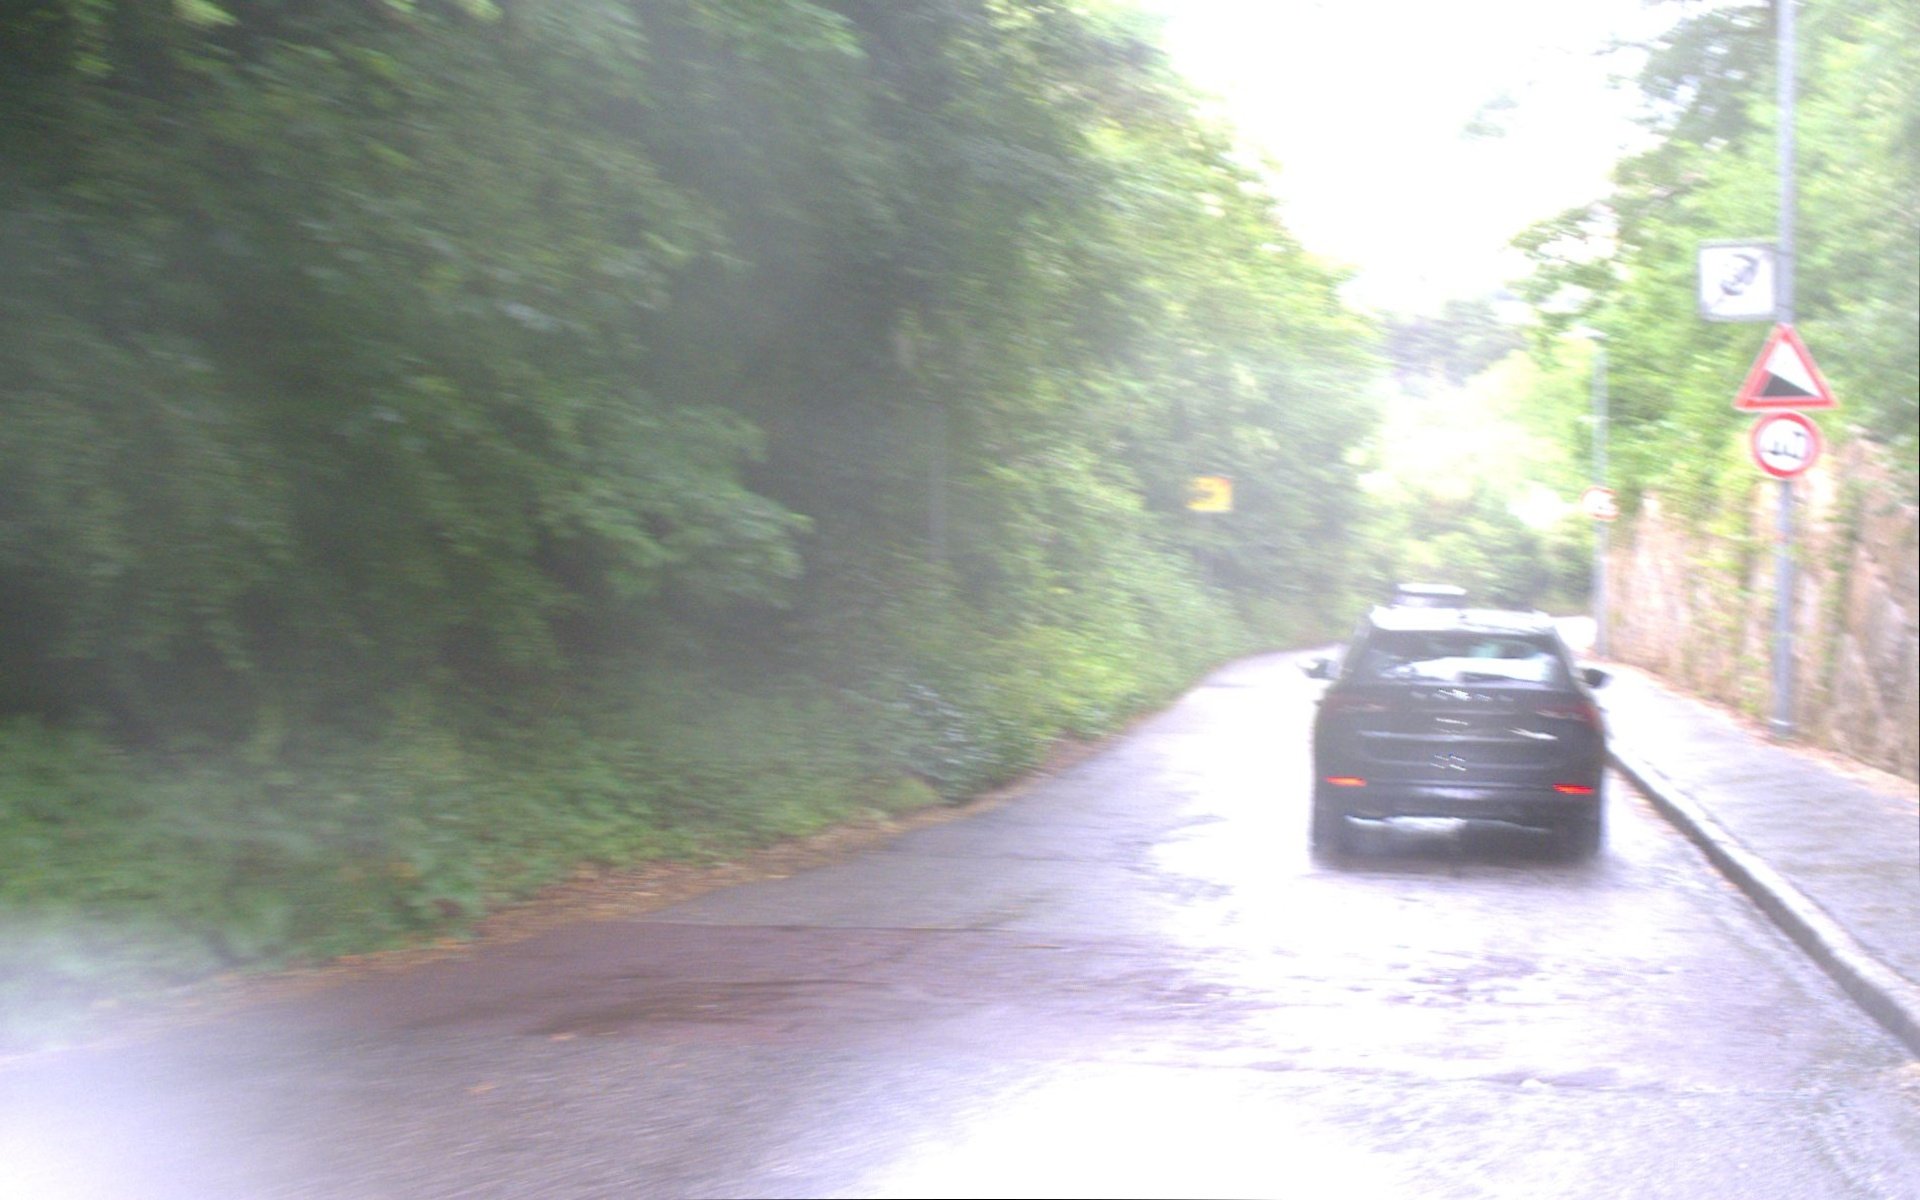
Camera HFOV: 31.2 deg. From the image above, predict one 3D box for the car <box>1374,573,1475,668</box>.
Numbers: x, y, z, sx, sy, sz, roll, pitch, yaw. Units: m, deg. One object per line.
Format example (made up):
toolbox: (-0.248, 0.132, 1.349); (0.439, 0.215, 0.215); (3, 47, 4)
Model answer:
car: (9.251, 0.389, 68.362); (1.863, 1.737, 3.999); (3, 0, 8)

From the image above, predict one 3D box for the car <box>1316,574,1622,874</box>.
car: (3.103, 0.686, 21.421); (1.700, 1.445, 4.000); (0, 4, 7)
